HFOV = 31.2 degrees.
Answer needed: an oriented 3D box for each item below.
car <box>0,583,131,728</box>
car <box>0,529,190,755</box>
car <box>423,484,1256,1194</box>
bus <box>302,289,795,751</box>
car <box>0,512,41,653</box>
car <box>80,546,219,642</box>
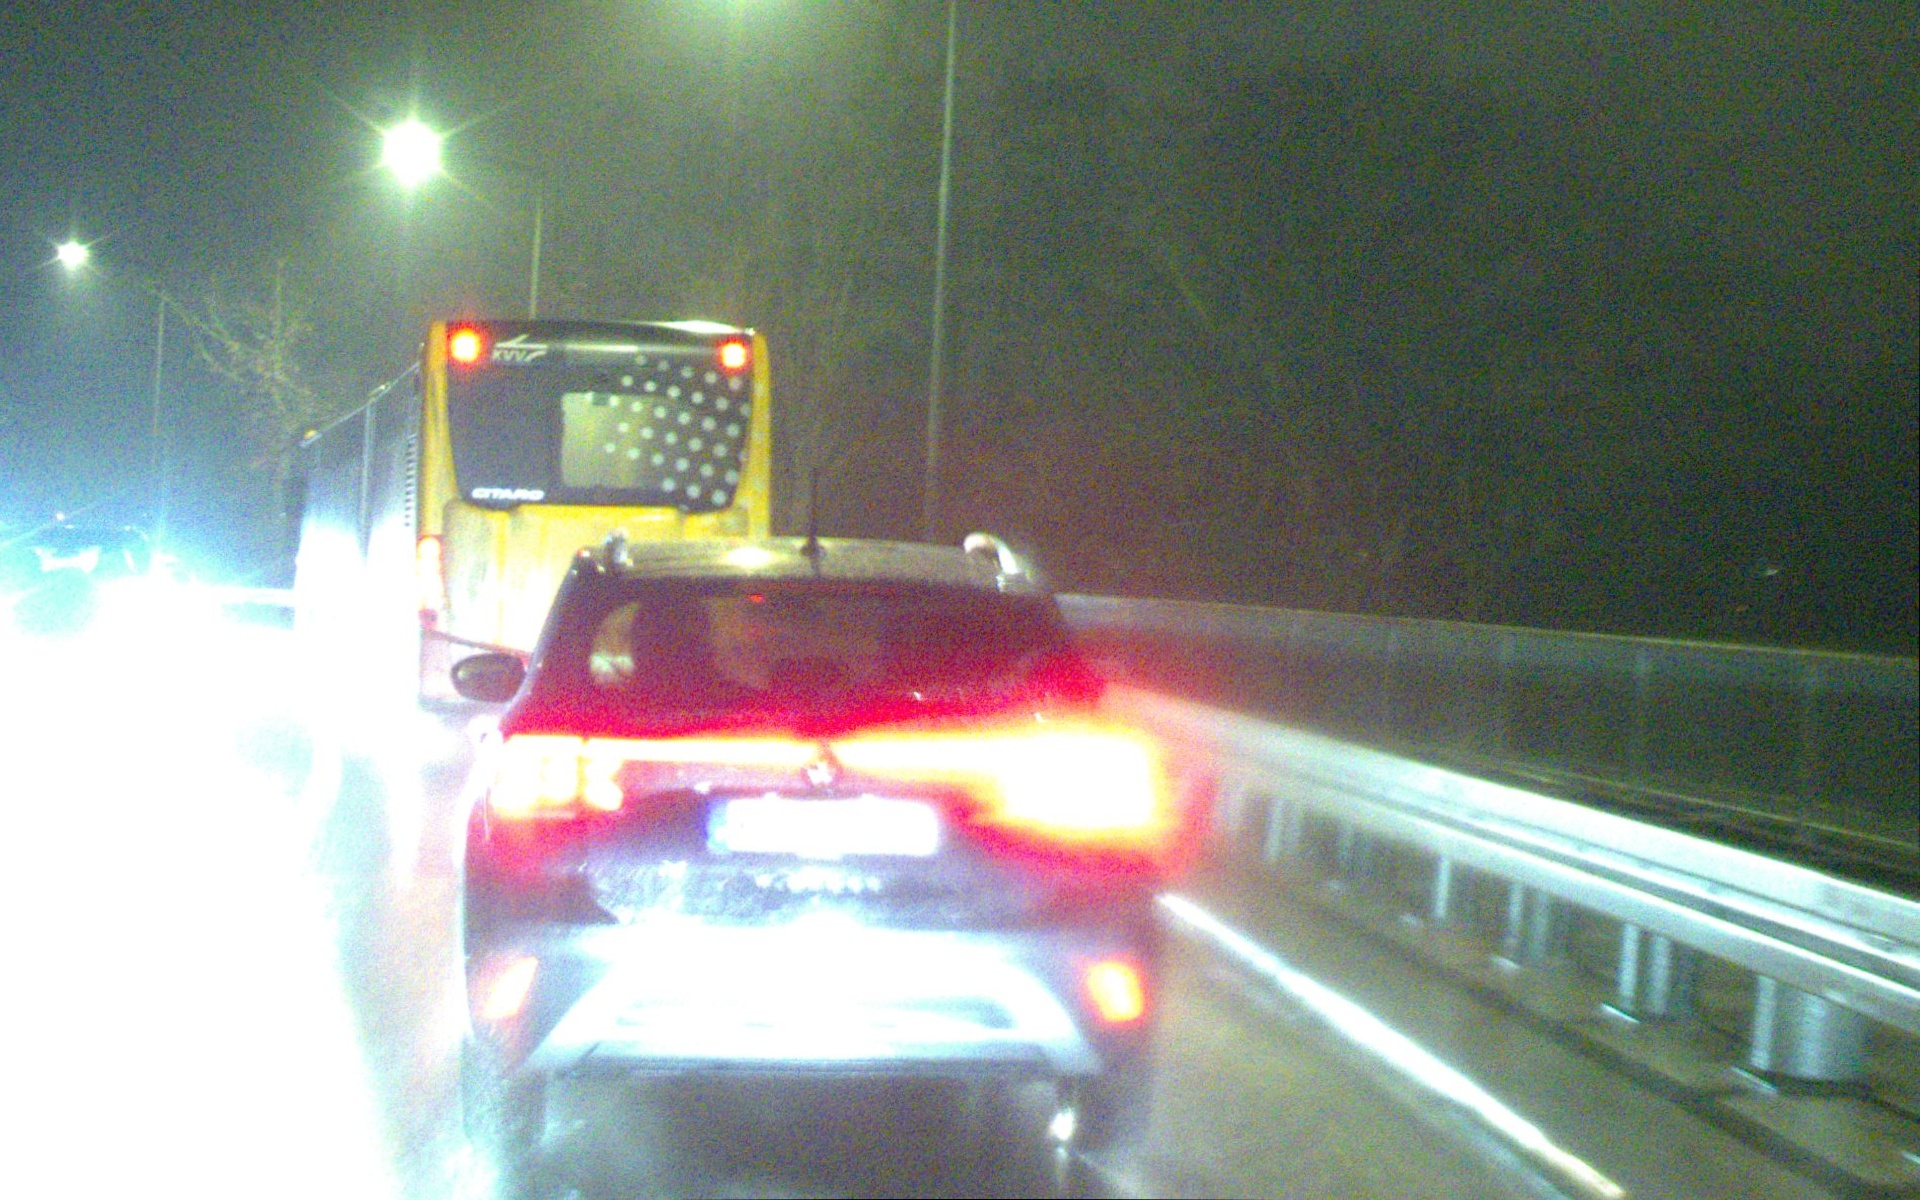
[{"bbox_3d":[-11.253,0.645,42.301,1.792,1.625,3.994,1,1,-17],"label":"car"},{"bbox_3d":[-7.310,0.291,28.169,1.778,1.698,4.315,-1,1,-10],"label":"car"},{"bbox_3d":[-0.405,0.521,9.711,1.855,1.581,4.001,1,1,-4],"label":"car"},{"bbox_3d":[-3.983,-0.665,29.763,3.082,3.122,12.701,0,1,-12],"label":"bus"},{"bbox_3d":[-16.241,-0.284,54.794,2.044,2.162,5.155,0,1,-27],"label":"car"},{"bbox_3d":[-15.116,-0.102,63.999,1.636,1.650,3.710,-1,-1,-27],"label":"car"}]
